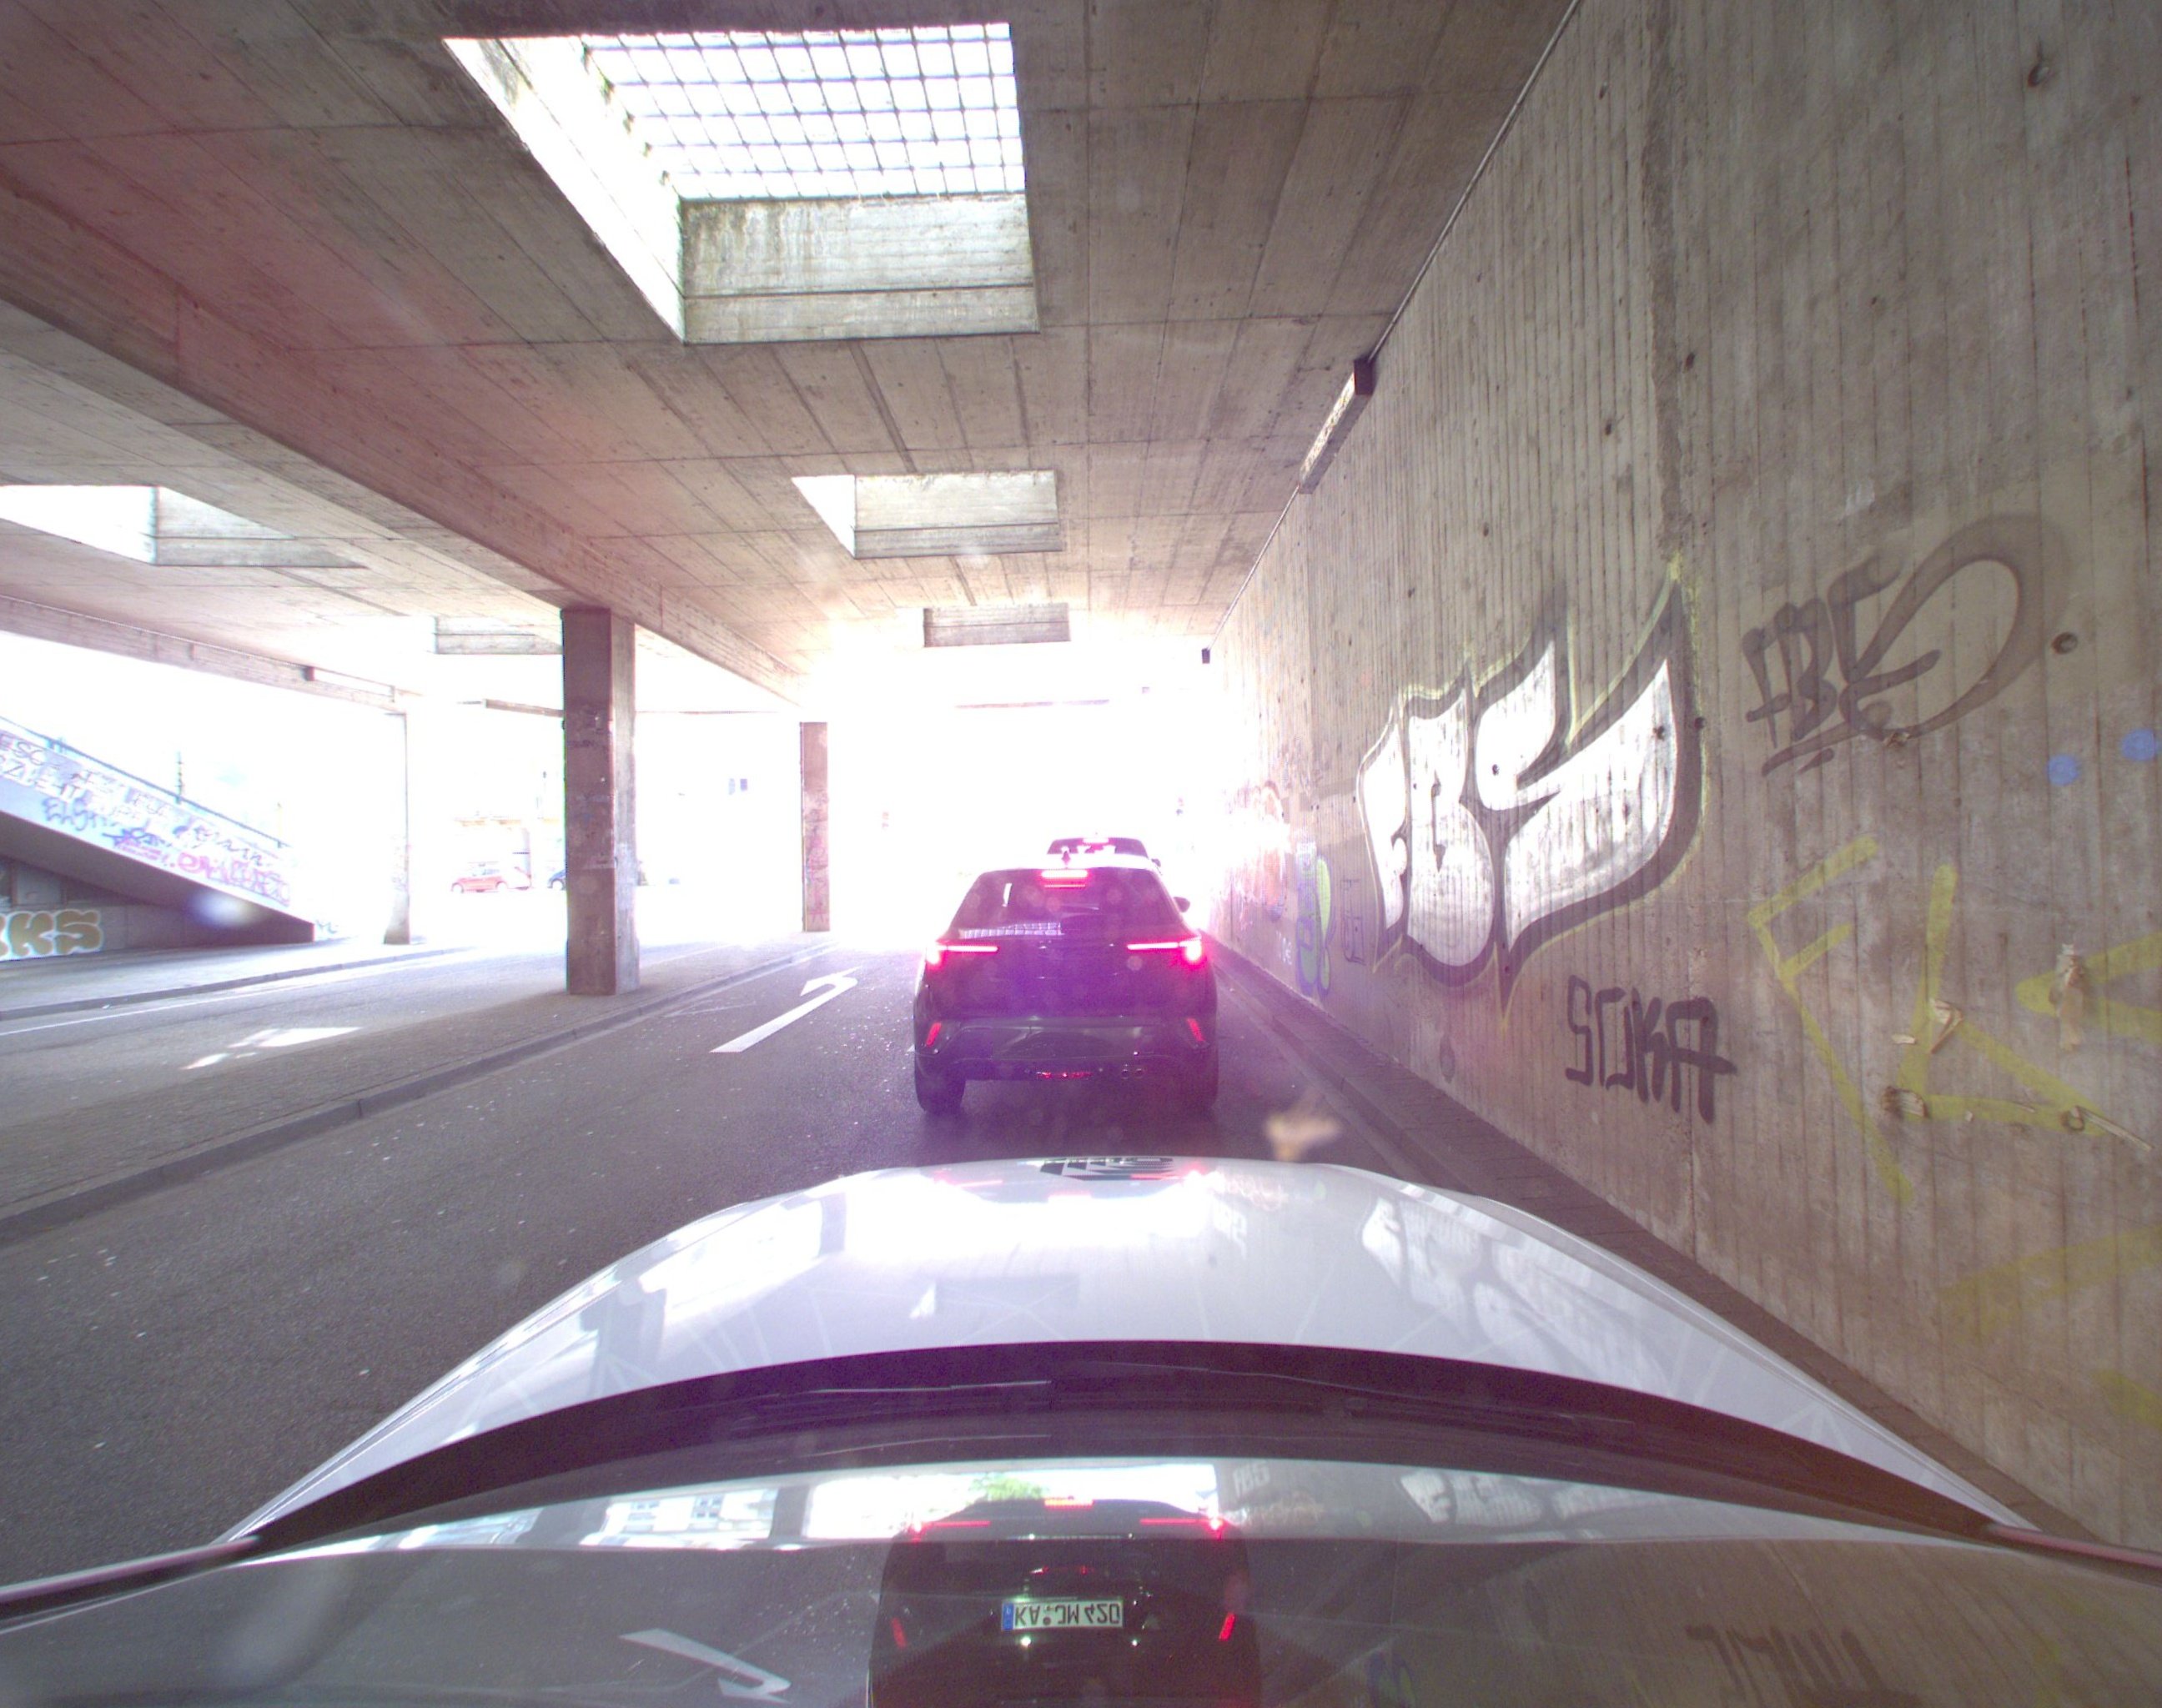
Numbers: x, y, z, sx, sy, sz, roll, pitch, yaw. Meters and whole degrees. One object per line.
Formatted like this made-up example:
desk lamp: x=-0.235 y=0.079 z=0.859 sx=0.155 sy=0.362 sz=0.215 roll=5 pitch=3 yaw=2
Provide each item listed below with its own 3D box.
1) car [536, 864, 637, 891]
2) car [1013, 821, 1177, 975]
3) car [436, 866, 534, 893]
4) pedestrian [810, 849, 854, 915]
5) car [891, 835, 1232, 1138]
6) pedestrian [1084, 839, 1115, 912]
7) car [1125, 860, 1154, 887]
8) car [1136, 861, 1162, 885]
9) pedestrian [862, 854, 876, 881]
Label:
car: x=-27.382 y=1.305 z=45.216 sx=4.393 sy=1.409 sz=1.925 roll=0 pitch=-1 yaw=-1
car: x=0.237 y=0.545 z=12.142 sx=1.986 sy=1.871 sz=4.002 roll=-2 pitch=0 yaw=2
car: x=-33.050 y=1.405 z=45.264 sx=3.975 sy=1.409 sz=1.925 roll=0 pitch=-1 yaw=-1
pedestrian: x=-6.762 y=0.762 z=22.141 sx=0.925 sy=1.762 sz=0.795 roll=0 pitch=-1 yaw=3
car: x=-0.035 y=0.654 z=6.223 sx=1.758 sy=1.571 sz=4.002 roll=0 pitch=1 yaw=2
pedestrian: x=0.453 y=0.520 z=19.914 sx=0.728 sy=1.734 sz=0.874 roll=0 pitch=-1 yaw=1
car: x=4.500 y=1.449 z=62.292 sx=1.983 sy=1.970 sz=4.172 roll=0 pitch=-1 yaw=7
car: x=5.719 y=1.587 z=68.479 sx=1.983 sy=1.970 sz=4.172 roll=0 pitch=-1 yaw=7
pedestrian: x=-12.703 y=0.804 z=48.812 sx=0.669 sy=1.637 sz=0.741 roll=0 pitch=-1 yaw=1
